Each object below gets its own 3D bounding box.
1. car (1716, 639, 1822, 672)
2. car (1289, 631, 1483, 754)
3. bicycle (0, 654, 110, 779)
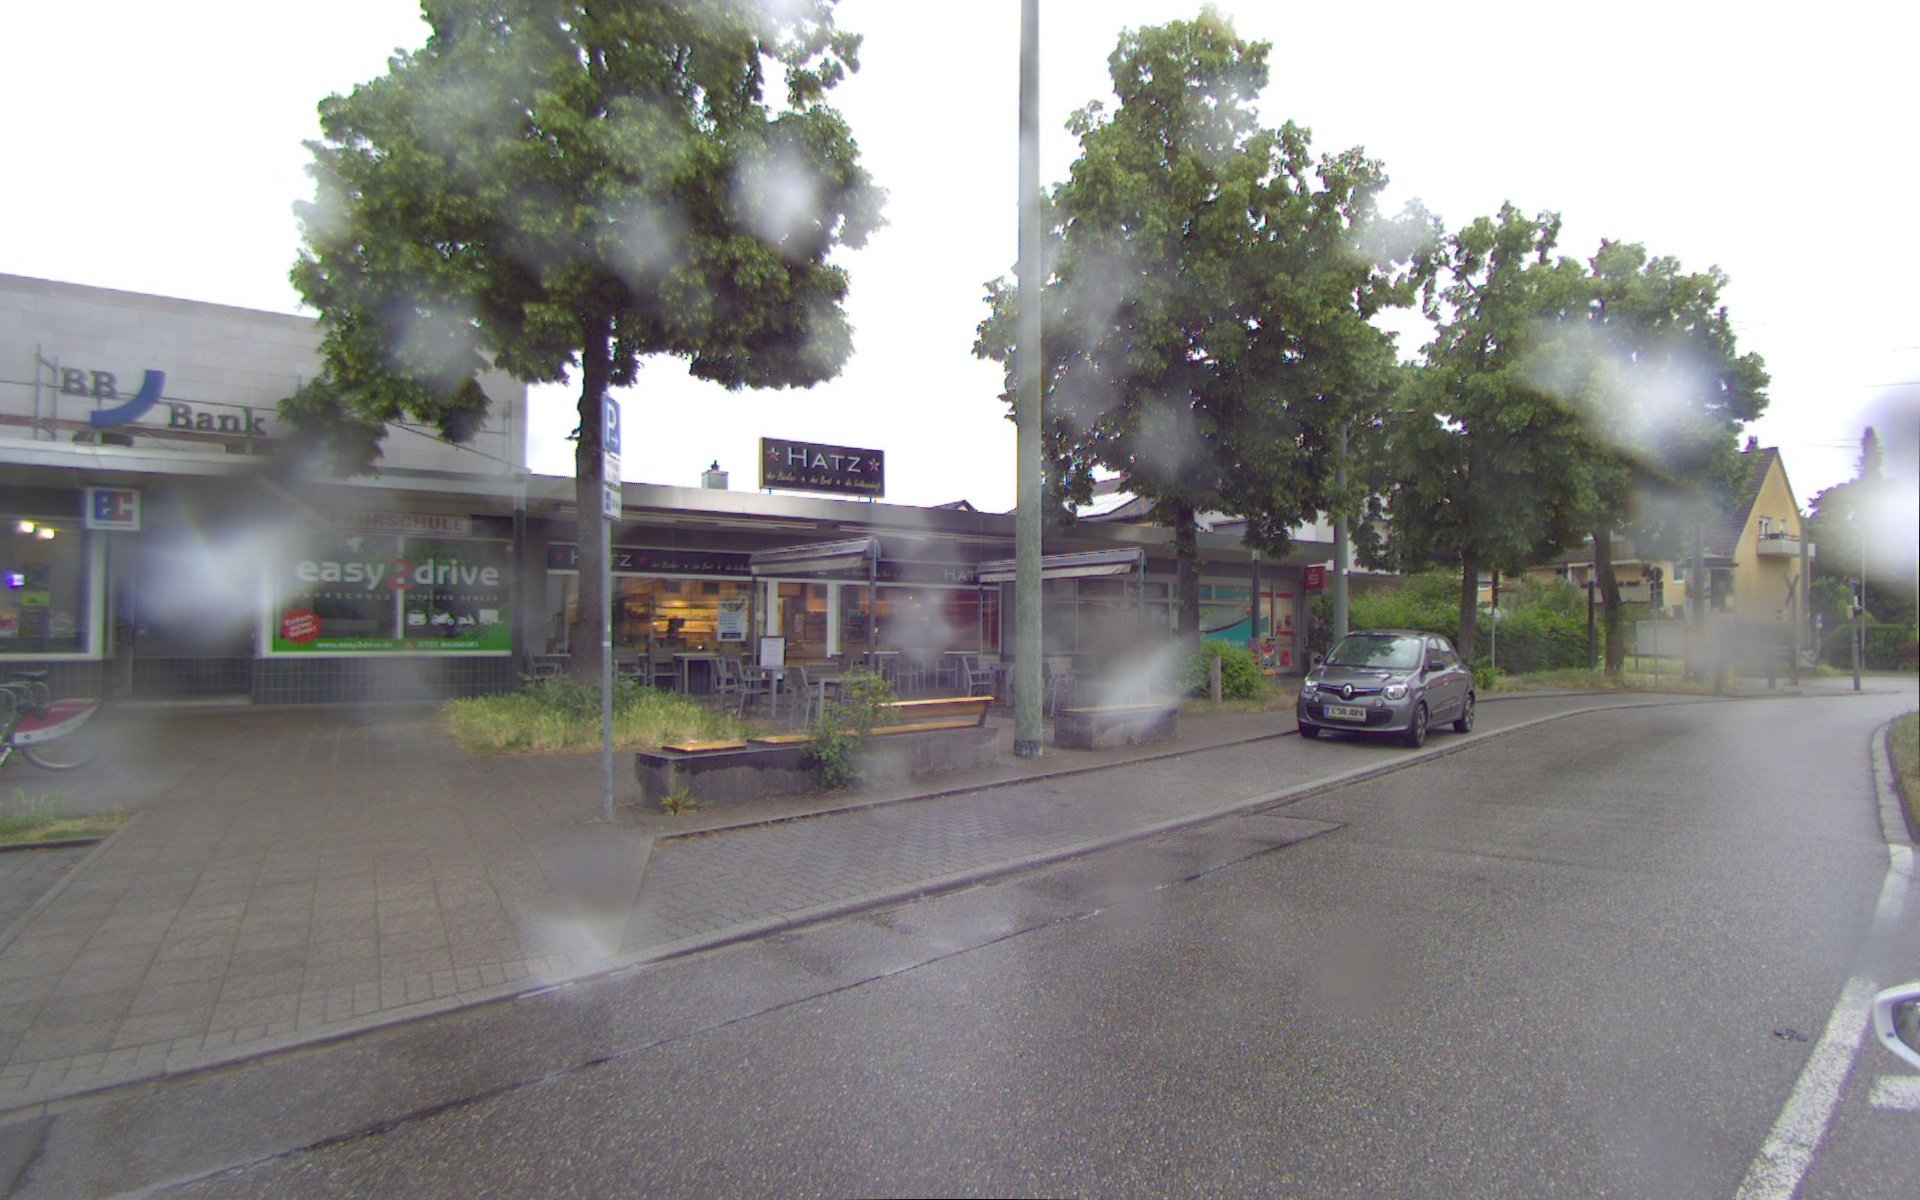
[{"bbox_3d":[41.970,2.854,52.187,1.815,1.476,3.960,2,0,-35],"label":"car"},{"bbox_3d":[6.381,1.247,14.836,1.598,1.516,3.649,2,0,40],"label":"car"},{"bbox_3d":[-9.004,1.079,9.264,0.314,1.122,1.739,2,0,43],"label":"bicycle"}]
